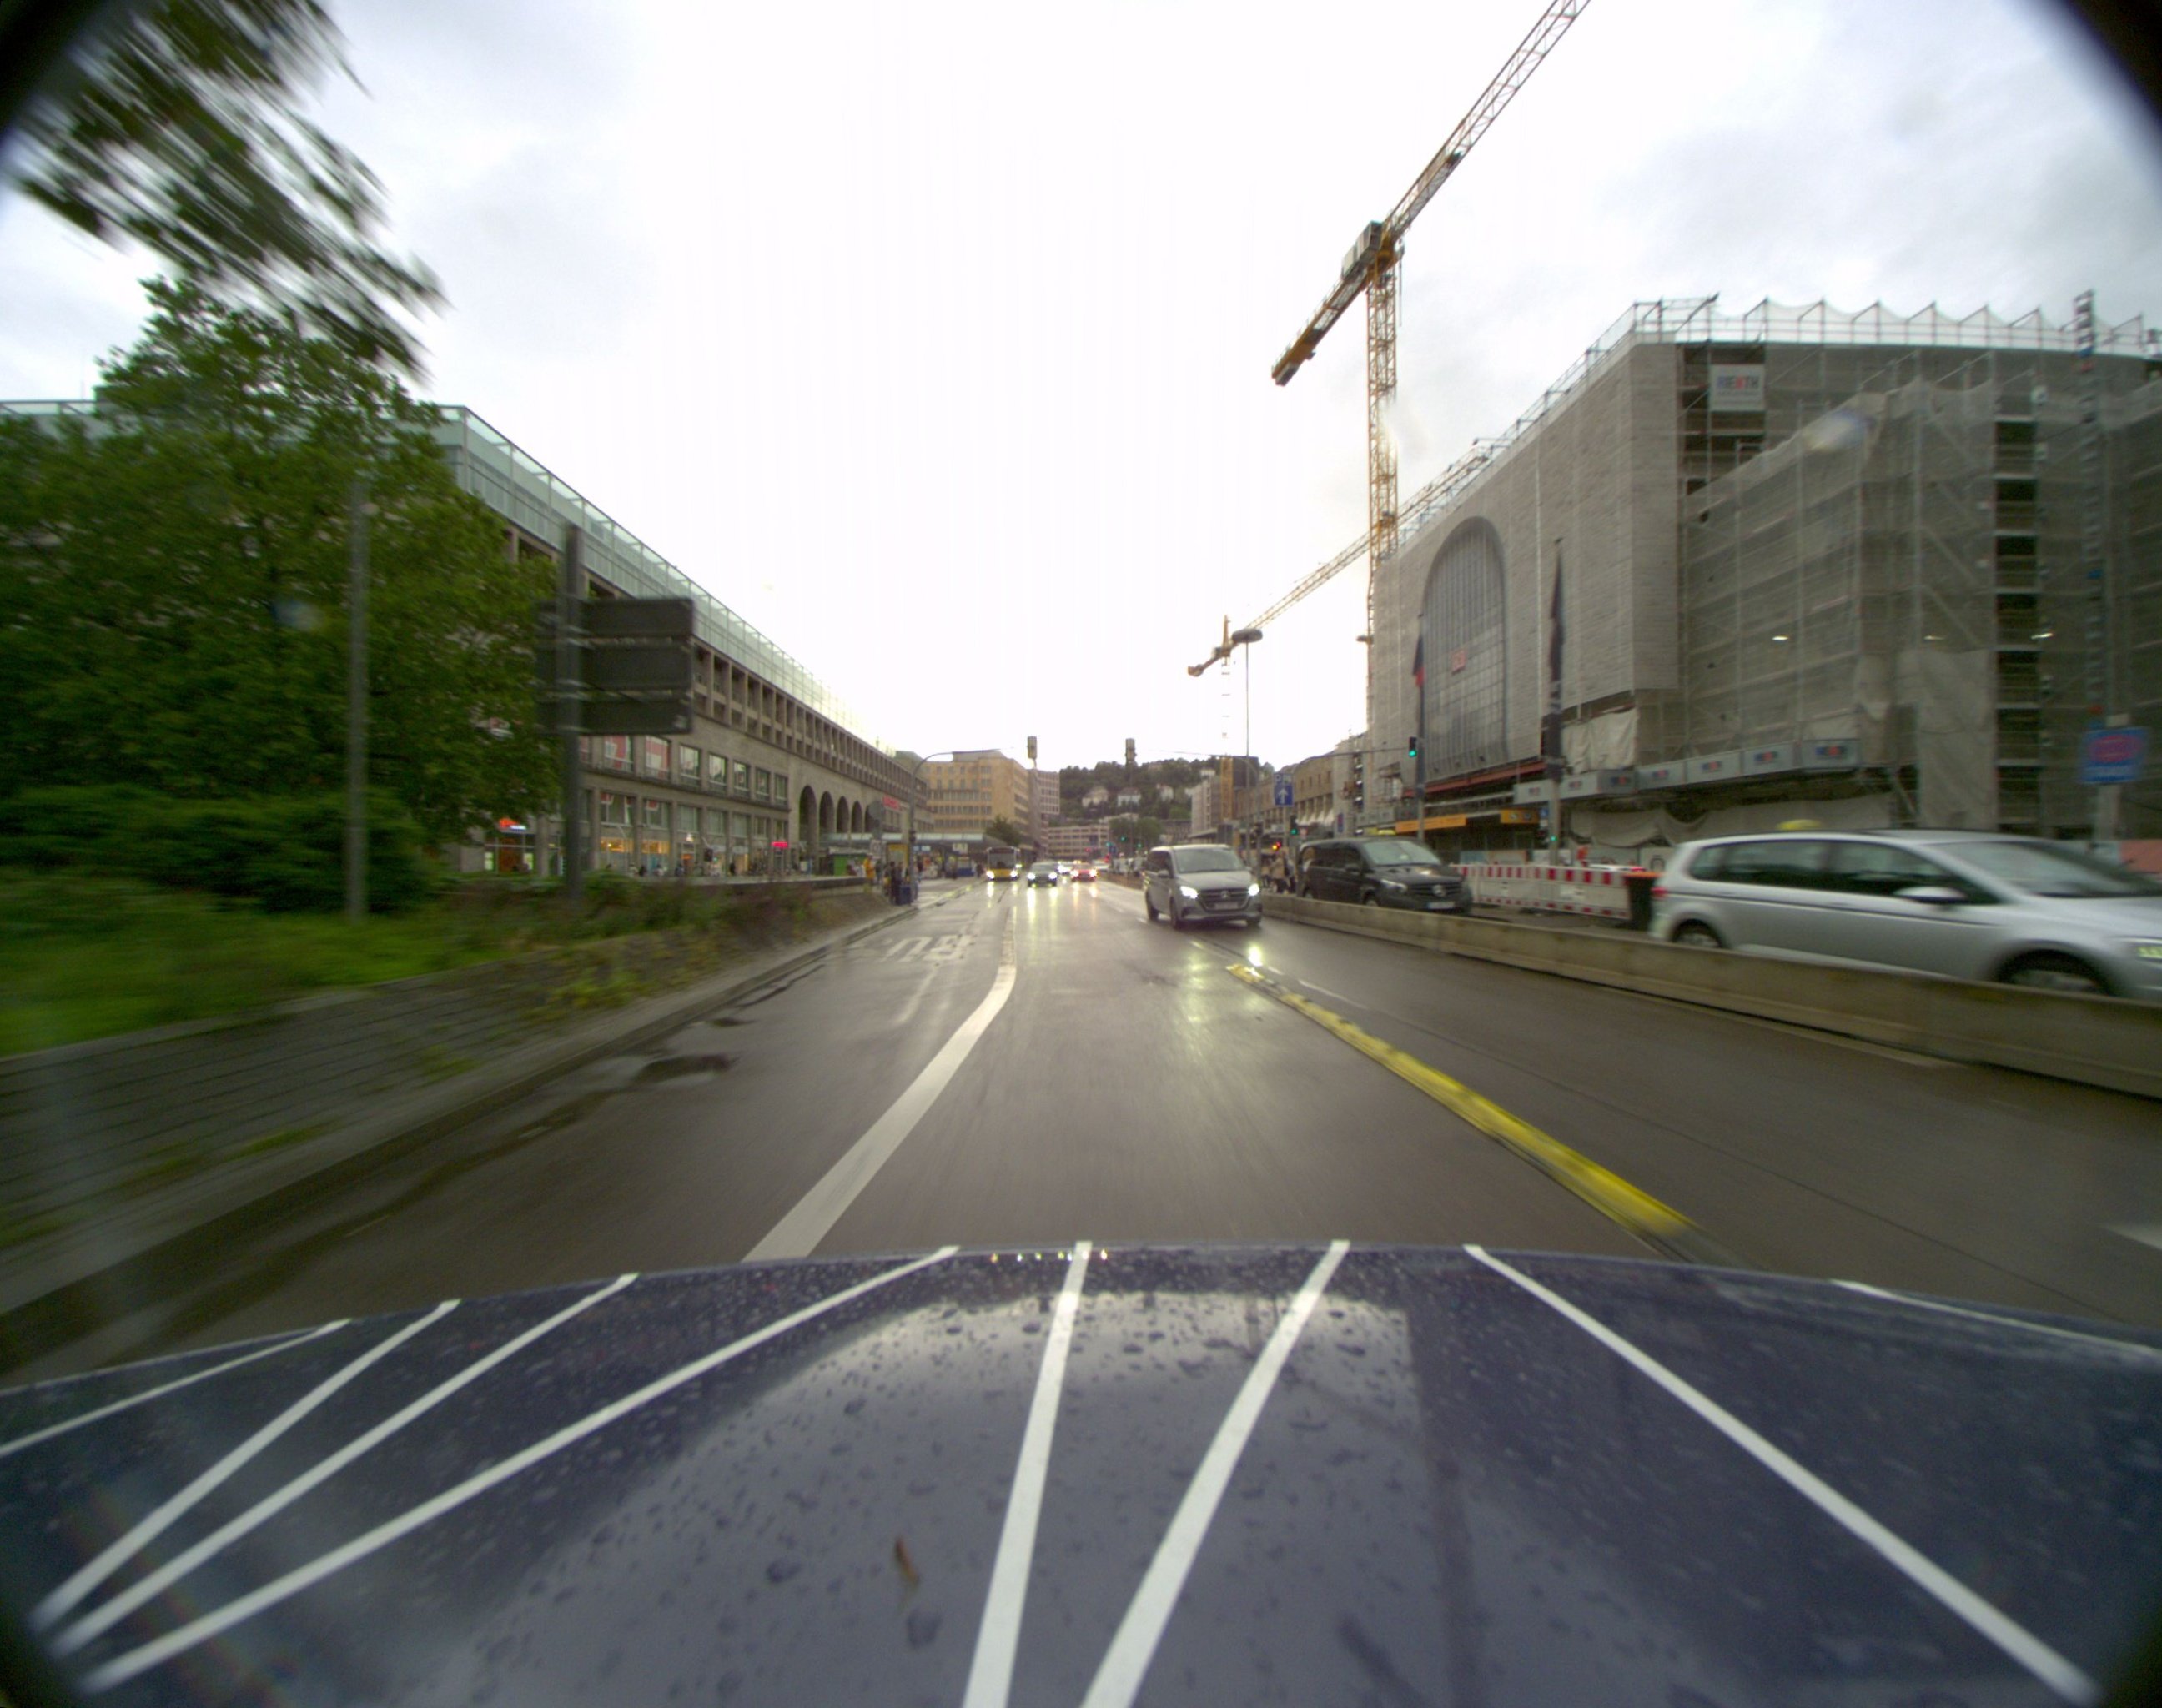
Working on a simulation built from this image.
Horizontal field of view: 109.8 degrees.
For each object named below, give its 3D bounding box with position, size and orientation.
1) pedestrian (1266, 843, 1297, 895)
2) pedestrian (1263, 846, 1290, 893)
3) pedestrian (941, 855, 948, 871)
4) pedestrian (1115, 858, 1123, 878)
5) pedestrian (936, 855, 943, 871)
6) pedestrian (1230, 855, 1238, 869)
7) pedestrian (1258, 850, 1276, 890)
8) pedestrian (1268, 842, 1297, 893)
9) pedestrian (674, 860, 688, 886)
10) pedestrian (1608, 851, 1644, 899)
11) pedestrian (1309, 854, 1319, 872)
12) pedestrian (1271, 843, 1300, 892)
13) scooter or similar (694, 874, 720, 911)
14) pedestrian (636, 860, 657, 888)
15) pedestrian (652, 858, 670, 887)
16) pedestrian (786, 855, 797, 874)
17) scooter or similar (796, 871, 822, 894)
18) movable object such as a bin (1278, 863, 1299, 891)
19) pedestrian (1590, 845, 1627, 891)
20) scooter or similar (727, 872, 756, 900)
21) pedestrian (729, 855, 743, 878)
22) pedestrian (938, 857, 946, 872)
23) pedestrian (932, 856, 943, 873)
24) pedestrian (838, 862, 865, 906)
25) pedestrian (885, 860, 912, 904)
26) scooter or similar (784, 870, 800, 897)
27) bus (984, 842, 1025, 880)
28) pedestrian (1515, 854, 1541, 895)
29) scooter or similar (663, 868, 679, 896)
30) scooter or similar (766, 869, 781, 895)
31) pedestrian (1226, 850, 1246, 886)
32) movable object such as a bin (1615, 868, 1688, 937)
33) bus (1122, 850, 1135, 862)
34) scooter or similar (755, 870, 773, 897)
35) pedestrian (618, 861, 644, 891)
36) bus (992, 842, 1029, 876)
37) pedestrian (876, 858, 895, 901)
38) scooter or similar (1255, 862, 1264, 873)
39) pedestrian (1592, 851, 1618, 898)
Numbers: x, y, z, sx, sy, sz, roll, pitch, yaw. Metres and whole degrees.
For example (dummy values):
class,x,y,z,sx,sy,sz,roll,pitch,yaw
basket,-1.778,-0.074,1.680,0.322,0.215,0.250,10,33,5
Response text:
class,x,y,z,sx,sy,sz,roll,pitch,yaw
pedestrian,7.365,0.558,27.945,0.835,1.870,1.028,-1,0,0
pedestrian,7.926,0.610,30.786,0.833,1.875,0.690,0,0,-12
pedestrian,-16.590,1.083,92.538,0.608,1.849,0.625,-1,0,7
pedestrian,3.471,1.287,69.624,0.572,1.830,0.703,-1,0,-16
pedestrian,-17.299,1.097,93.085,0.596,1.863,0.592,-1,0,31
pedestrian,21.366,1.141,106.052,0.744,1.928,0.864,-3,1,-5
pedestrian,8.319,0.710,34.008,0.584,1.725,0.756,0,0,-3
pedestrian,7.653,0.504,28.829,1.005,1.875,0.684,0,0,20
pedestrian,-26.741,1.259,50.812,0.598,1.679,0.708,-1,1,-2
pedestrian,21.225,0.793,29.593,0.699,1.830,0.877,-2,1,-4
pedestrian,21.838,0.836,71.304,0.678,1.604,0.838,-1,0,0
pedestrian,7.939,0.509,29.537,1.005,1.875,0.818,0,0,20
scooter or similar,-13.101,1.339,26.617,0.353,1.210,1.157,-2,1,-4
pedestrian,-23.707,1.078,41.467,0.671,1.515,0.782,0,0,5
pedestrian,-22.952,1.012,41.534,0.646,1.592,0.616,1,2,4
pedestrian,-27.820,1.007,72.949,0.733,1.782,0.789,0,1,-2
scooter or similar,-14.192,1.464,39.666,0.437,1.123,1.368,-3,0,23
movable object such as a bin,8.209,0.916,30.078,0.743,1.070,0.750,0,0,20
pedestrian,21.565,0.568,31.088,0.984,1.830,1.042,0,0,19
scooter or similar,-15.822,1.484,35.378,1.363,1.243,0.439,-1,1,28
pedestrian,-26.593,0.950,58.529,0.723,1.686,0.776,-2,1,-3
pedestrian,-15.748,1.184,86.184,0.750,1.685,0.902,-1,0,1
pedestrian,-15.576,1.095,82.426,0.790,1.794,0.990,-1,1,-30
pedestrian,-8.200,1.067,27.165,0.657,1.546,0.634,-1,1,11
pedestrian,-7.048,1.069,29.385,0.877,1.681,0.758,0,0,-3
scooter or similar,-13.884,1.424,36.522,0.325,1.230,1.099,-2,1,-1
bus,-6.909,0.563,70.134,3.122,3.186,9.239,-2,0,-3
pedestrian,20.022,0.899,34.021,0.775,1.830,0.640,0,0,-9
scooter or similar,-19.319,1.292,35.776,0.622,1.253,1.747,-2,1,-29
scooter or similar,-14.872,1.358,36.775,0.306,1.200,0.957,-2,1,-1
pedestrian,7.160,0.645,35.101,0.715,1.655,0.836,0,0,-3
movable object such as a bin,10.239,0.857,13.660,0.672,1.155,0.766,-3,1,-9
bus,14.107,0.601,226.587,2.917,3.557,19.077,0,0,1
scooter or similar,-15.369,1.415,36.867,0.370,1.274,1.172,-2,1,-1
pedestrian,-25.097,1.215,42.393,0.794,1.665,0.889,-2,1,5
bus,-7.250,0.485,79.295,3.150,3.229,9.132,-2,0,-2
pedestrian,-8.225,1.064,31.951,0.541,1.794,0.756,-1,1,-30
scooter or similar,18.116,1.375,77.176,0.459,1.060,1.242,-1,0,33
pedestrian,20.888,0.808,30.285,0.699,1.830,0.528,0,0,-4
